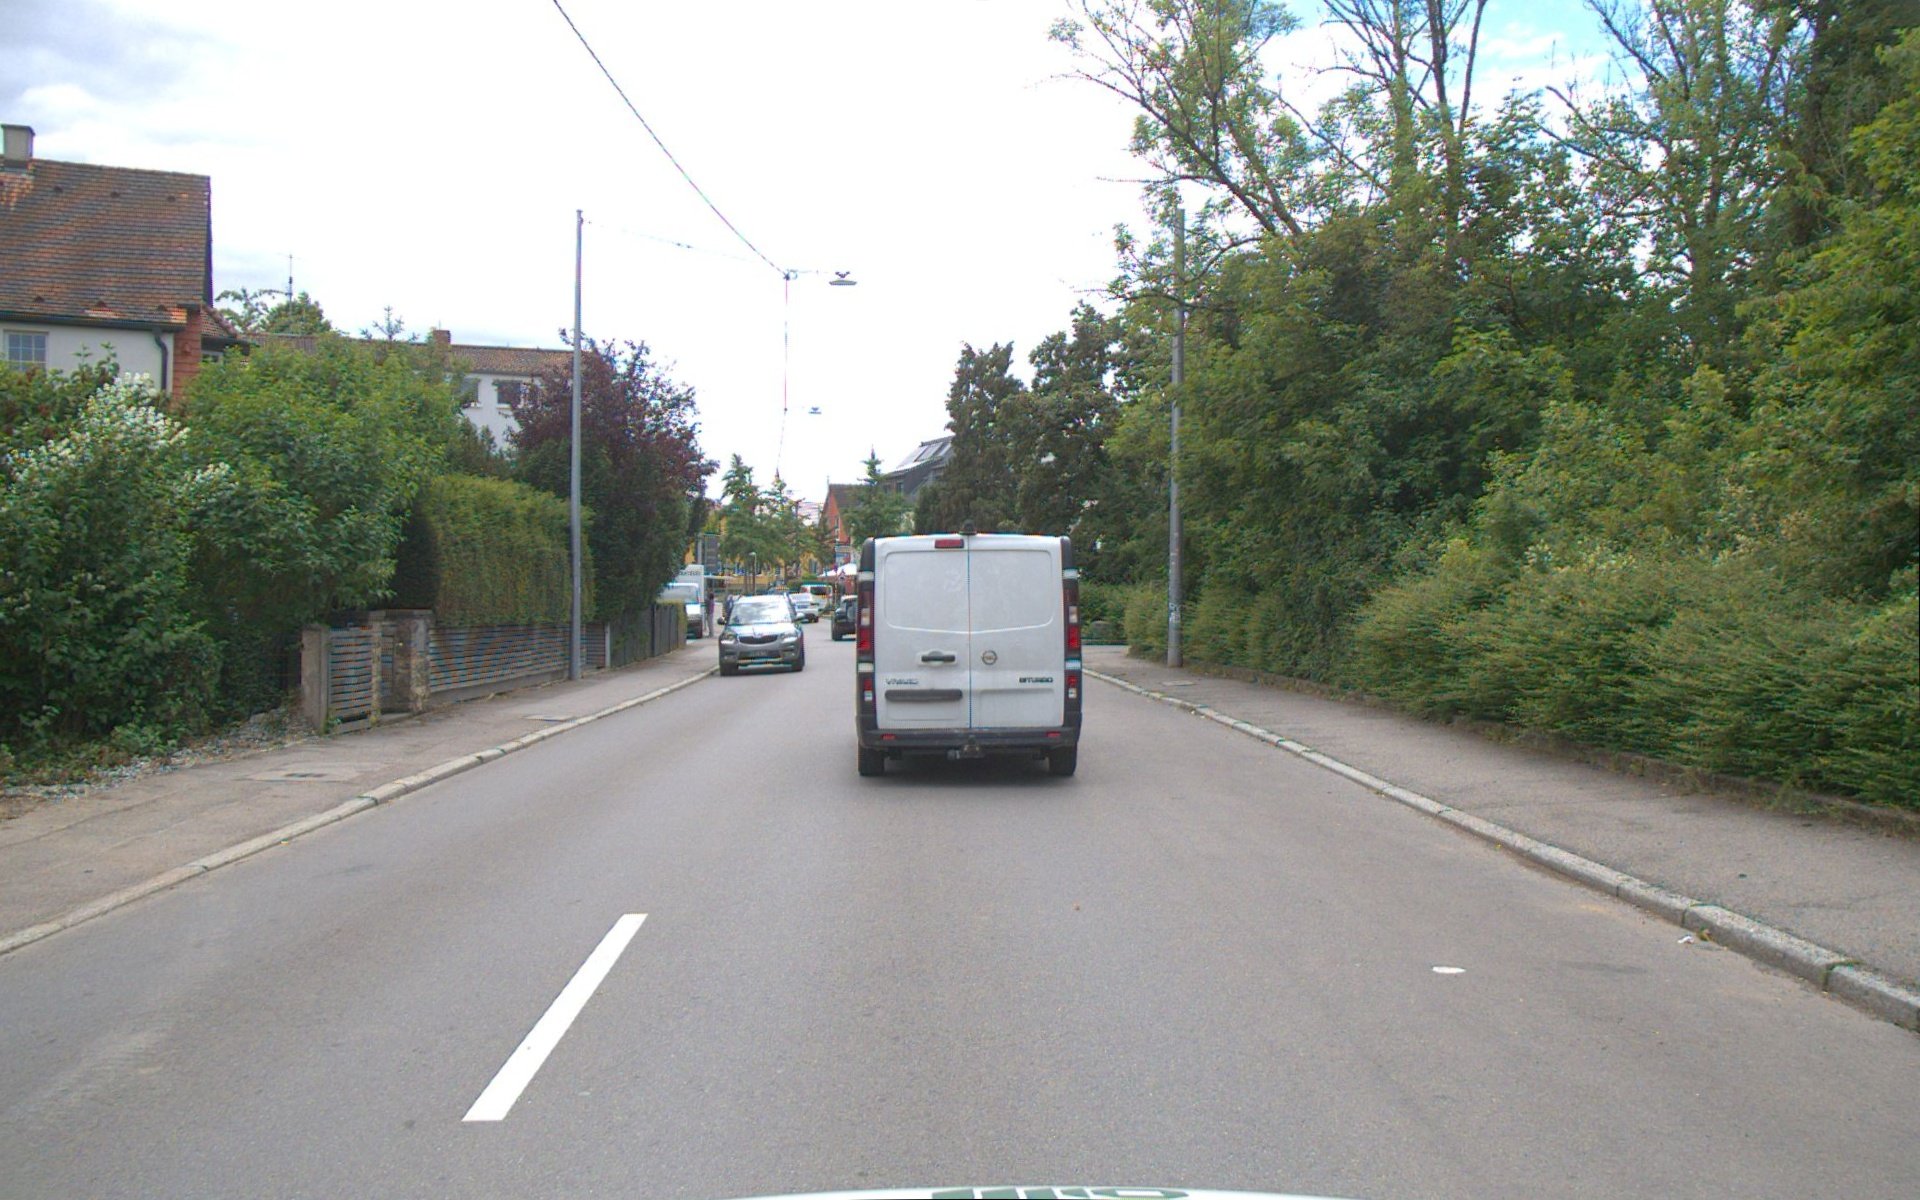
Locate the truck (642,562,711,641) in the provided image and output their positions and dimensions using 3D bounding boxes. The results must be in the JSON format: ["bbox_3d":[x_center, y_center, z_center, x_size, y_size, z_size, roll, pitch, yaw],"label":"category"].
[{"bbox_3d":[-11.086,0.078,64.215,2.429,2.890,6.688,1,0,-11],"label":"truck"}]

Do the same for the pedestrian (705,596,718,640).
[{"bbox_3d":[-9.704,0.696,64.676,0.394,1.724,0.595,2,-1,-12],"label":"pedestrian"}]

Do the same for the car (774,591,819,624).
[{"bbox_3d":[-9.351,0.406,94.502,1.960,1.813,3.984,-1,0,-15],"label":"car"}]

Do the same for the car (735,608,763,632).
[{"bbox_3d":[-13.099,1.224,102.854,1.661,1.457,3.922,0,0,-6],"label":"car"}]

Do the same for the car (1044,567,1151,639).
[{"bbox_3d":[5.532,0.129,67.189,2.459,2.729,5.160,3,-1,-18],"label":"car"}]

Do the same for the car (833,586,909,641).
[{"bbox_3d":[-3.244,0.480,59.389,1.960,1.880,3.984,0,0,-15],"label":"car"}]

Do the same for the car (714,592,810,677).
[{"bbox_3d":[-4.289,0.735,36.372,1.804,1.684,4.135,-3,0,-4],"label":"car"}]

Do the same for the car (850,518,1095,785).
[{"bbox_3d":[0.010,0.408,14.917,1.877,2.038,4.435,0,0,-2],"label":"car"}]

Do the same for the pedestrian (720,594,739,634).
[{"bbox_3d":[-10.097,0.627,72.379,0.709,1.716,1.108,2,-1,-6],"label":"pedestrian"}]

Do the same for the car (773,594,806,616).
[{"bbox_3d":[-12.625,0.386,122.547,1.714,1.521,3.637,3,-1,-17],"label":"car"}]

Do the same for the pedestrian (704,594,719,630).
[{"bbox_3d":[-14.125,0.696,94.145,0.719,1.980,1.216,2,-1,-6],"label":"pedestrian"}]
